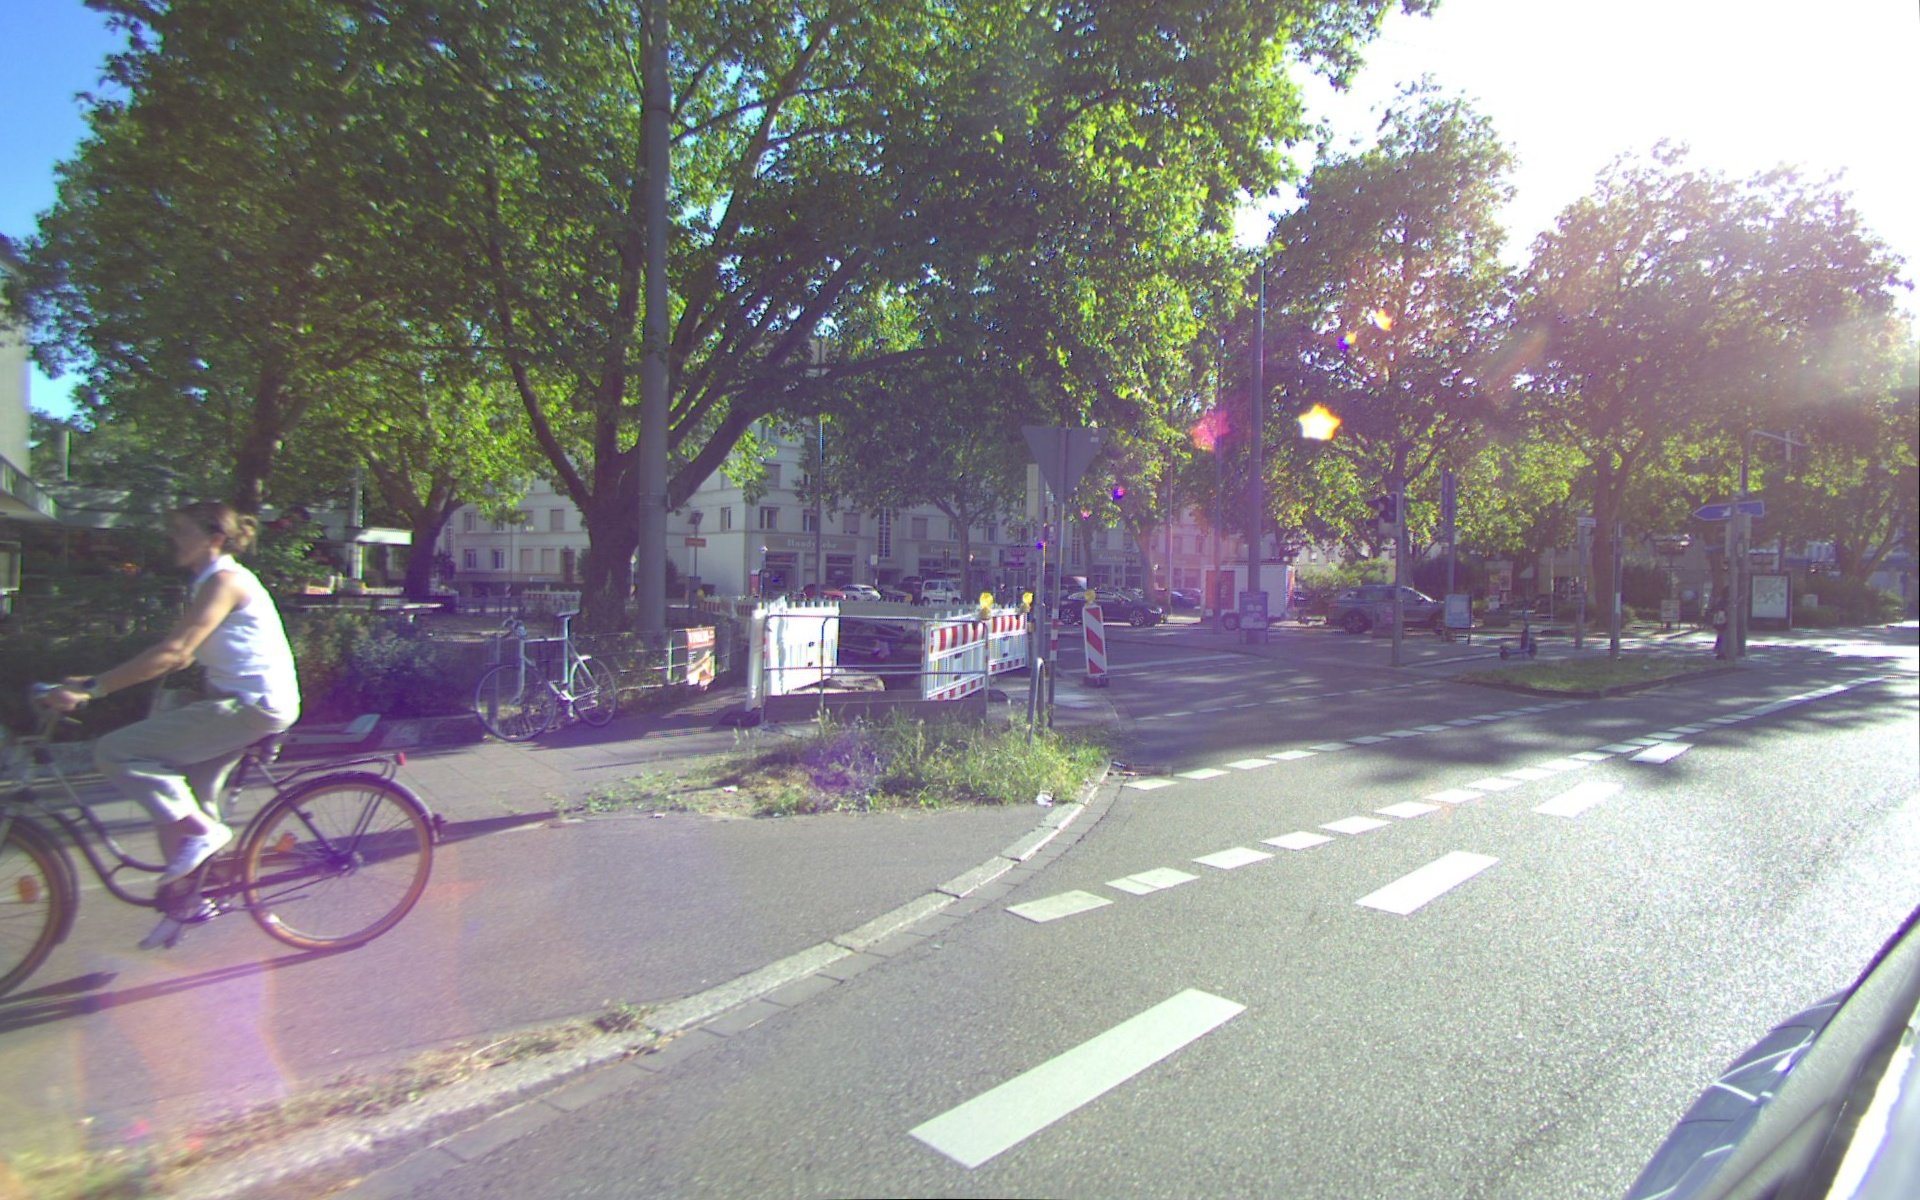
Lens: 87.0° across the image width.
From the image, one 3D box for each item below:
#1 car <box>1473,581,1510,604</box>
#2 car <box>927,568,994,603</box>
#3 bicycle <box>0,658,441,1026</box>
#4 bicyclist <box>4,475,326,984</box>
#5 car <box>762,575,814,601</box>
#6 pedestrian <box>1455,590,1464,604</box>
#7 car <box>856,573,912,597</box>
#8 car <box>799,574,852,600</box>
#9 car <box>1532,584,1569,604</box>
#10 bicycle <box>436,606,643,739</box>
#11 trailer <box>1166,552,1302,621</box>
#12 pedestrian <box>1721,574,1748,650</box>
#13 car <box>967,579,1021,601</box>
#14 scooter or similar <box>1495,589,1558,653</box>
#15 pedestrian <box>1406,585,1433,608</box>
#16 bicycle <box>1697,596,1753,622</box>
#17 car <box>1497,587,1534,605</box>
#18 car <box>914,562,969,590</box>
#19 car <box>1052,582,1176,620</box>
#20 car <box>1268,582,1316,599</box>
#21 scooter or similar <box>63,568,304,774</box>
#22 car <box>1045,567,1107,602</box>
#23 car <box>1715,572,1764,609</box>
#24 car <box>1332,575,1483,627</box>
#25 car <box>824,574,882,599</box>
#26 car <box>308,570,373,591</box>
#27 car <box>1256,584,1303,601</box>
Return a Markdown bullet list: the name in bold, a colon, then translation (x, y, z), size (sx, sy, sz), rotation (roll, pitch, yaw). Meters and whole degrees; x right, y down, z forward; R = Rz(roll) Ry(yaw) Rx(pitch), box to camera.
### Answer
- **car**: translation (49.226, -0.655, 93.716), size (4.108, 2.053, 1.708), rotation (1, 0, -43)
- **car**: translation (-0.003, -0.920, 61.740), size (1.730, 1.893, 4.351), rotation (0, 3, -39)
- **bicycle**: translation (-2.868, 0.785, 3.589), size (1.736, 1.039, 0.604), rotation (0, 1, -41)
- **bicyclist**: translation (-2.815, 0.390, 3.621), size (0.845, 1.570, 0.604), rotation (0, 1, -41)
- **car**: translation (-11.436, -0.784, 67.097), size (1.788, 1.498, 4.357), rotation (0, 3, -33)
- **pedestrian**: translation (44.318, -0.259, 89.753), size (0.627, 1.242, 0.533), rotation (-1, -1, 34)
- **car**: translation (-5.379, -1.080, 71.168), size (1.730, 1.498, 4.351), rotation (0, 3, -39)
- **car**: translation (-9.143, -0.900, 68.592), size (1.788, 1.498, 4.357), rotation (0, 3, -33)
- **car**: translation (52.385, -0.521, 89.824), size (4.108, 1.681, 1.708), rotation (1, 0, -43)
- **bicycle**: translation (-3.712, 0.590, 9.149), size (0.597, 1.039, 1.942), rotation (2, 0, 18)
- **trailer**: translation (10.046, -0.527, 37.165), size (4.476, 2.403, 1.894), rotation (1, 0, 29)
- **pedestrian**: translation (17.086, 0.257, 22.321), size (0.427, 1.660, 0.604), rotation (0, -1, 43)
- **car**: translation (2.628, -0.812, 78.570), size (1.747, 1.498, 4.351), rotation (0, 3, -39)
- **scooter or similar**: translation (11.645, 0.412, 20.802), size (1.264, 1.273, 0.563), rotation (0, 2, -32)
- **pedestrian**: translation (25.960, -0.205, 57.216), size (0.776, 1.256, 1.140), rotation (0, -1, -40)
- **bicycle**: translation (32.263, 0.366, 42.715), size (1.805, 1.067, 0.530), rotation (0, 0, 25)
- **car**: translation (50.287, -0.335, 91.526), size (4.108, 1.521, 1.708), rotation (1, 0, -43)
- **car**: translation (-1.382, -1.805, 74.676), size (1.730, 1.893, 4.351), rotation (0, 3, -39)
- **car**: translation (5.956, 0.053, 39.324), size (4.398, 1.378, 1.916), rotation (-1, 0, 29)
- **car**: translation (34.279, -1.023, 104.580), size (1.747, 1.539, 4.351), rotation (0, 3, -39)
- **scooter or similar**: translation (-5.305, 0.428, 6.954), size (1.268, 1.273, 0.561), rotation (-1, 3, -44)
- **car**: translation (9.689, -1.354, 84.995), size (2.128, 2.699, 5.066), rotation (0, 3, -39)
- **car**: translation (60.962, -0.722, 79.145), size (4.630, 2.777, 1.998), rotation (0, -1, -39)
- **car**: translation (15.170, 0.064, 34.317), size (4.539, 1.661, 1.916), rotation (-1, 0, 29)
- **car**: translation (-7.478, -0.980, 70.397), size (1.702, 1.498, 4.343), rotation (-1, 4, -44)
- **car**: translation (-42.462, -1.320, 69.395), size (4.398, 1.378, 1.916), rotation (-1, 0, 29)
- **car**: translation (32.682, -0.792, 103.539), size (1.747, 1.539, 4.351), rotation (0, 3, -39)
